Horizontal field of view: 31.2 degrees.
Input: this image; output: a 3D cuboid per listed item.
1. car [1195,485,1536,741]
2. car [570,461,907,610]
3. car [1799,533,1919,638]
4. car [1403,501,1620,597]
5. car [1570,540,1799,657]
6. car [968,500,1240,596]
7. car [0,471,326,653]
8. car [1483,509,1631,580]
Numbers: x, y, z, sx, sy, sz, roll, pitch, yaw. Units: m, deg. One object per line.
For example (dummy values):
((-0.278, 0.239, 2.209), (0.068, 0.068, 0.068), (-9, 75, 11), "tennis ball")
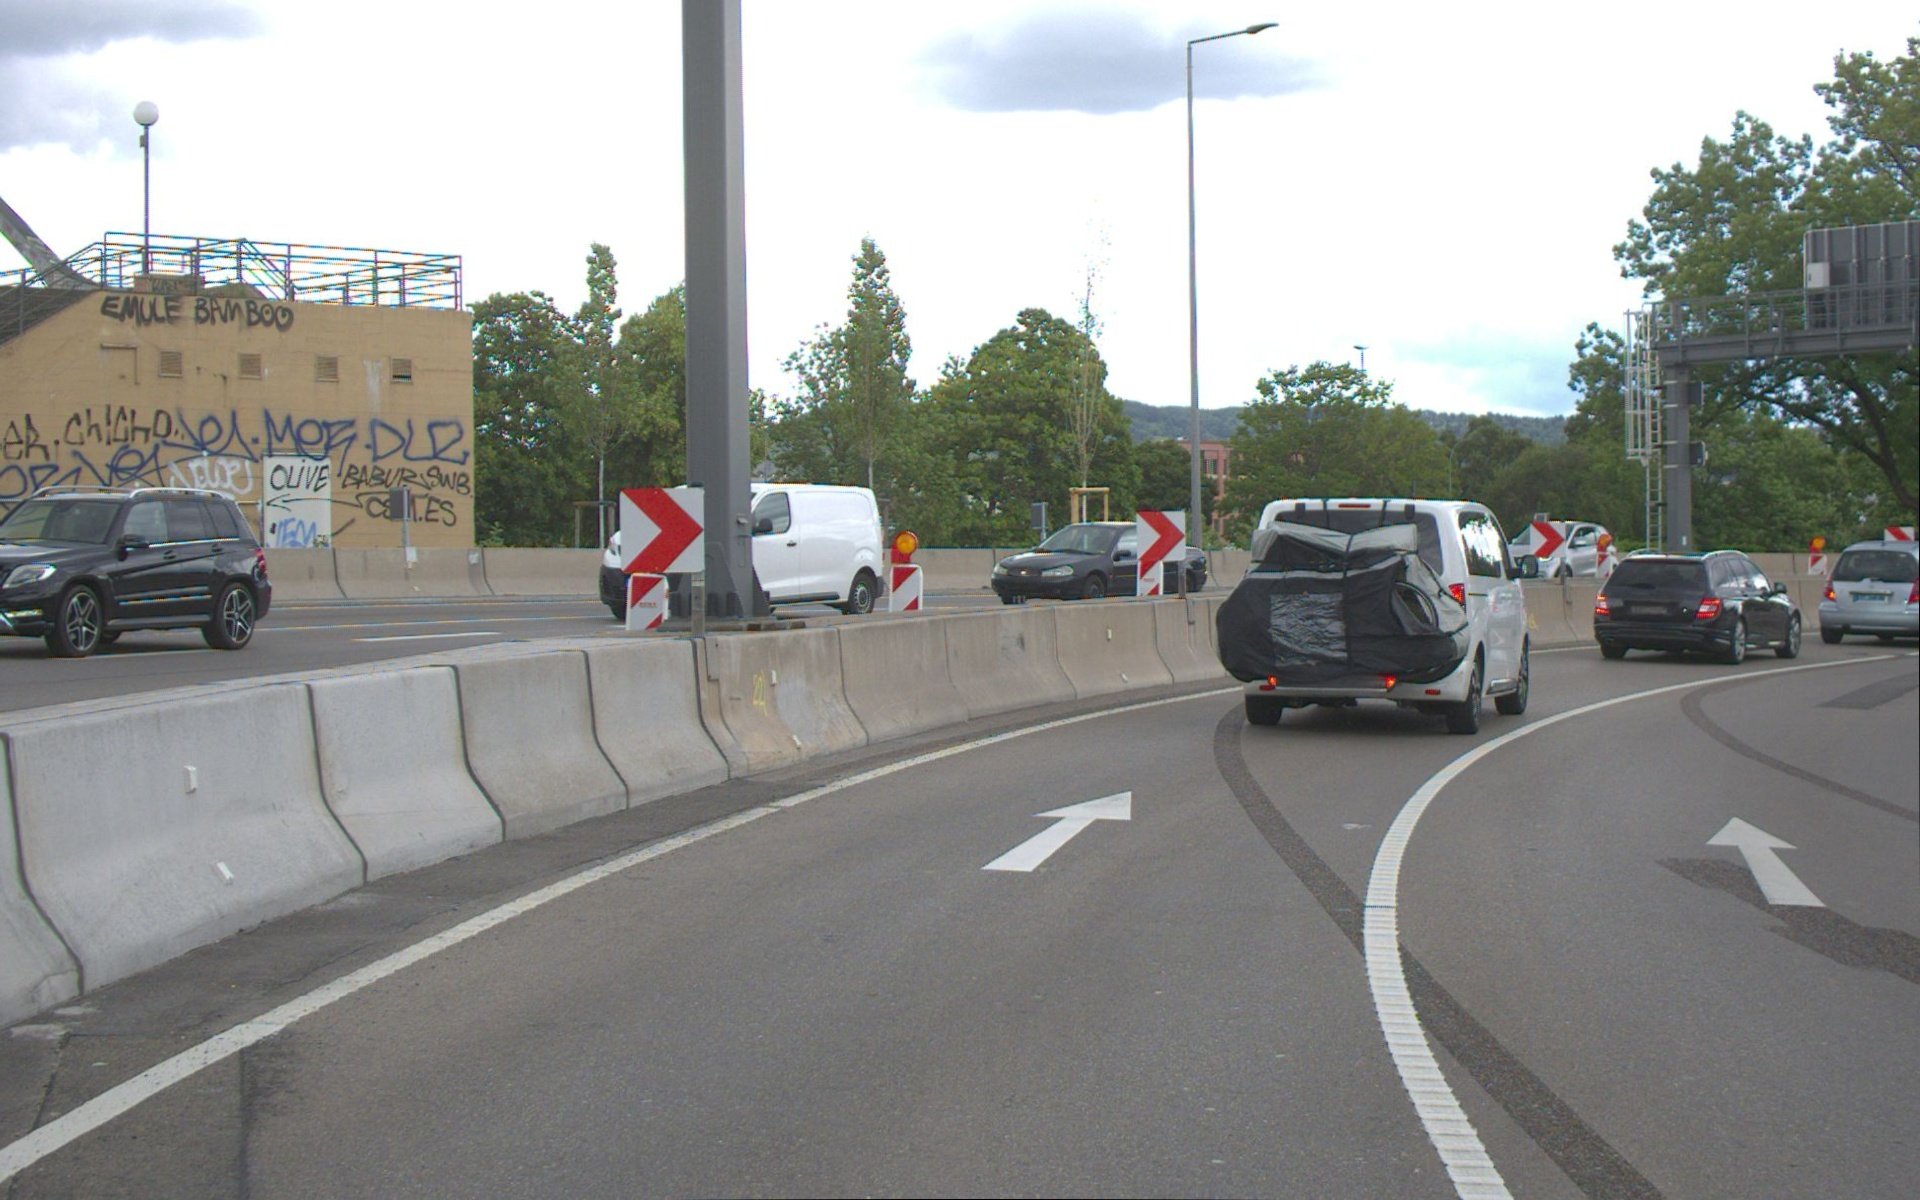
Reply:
((3.476, 0.040, 28.430), (1.994, 1.852, 5.637), (2, 1, 15), "car")
((-2.979, -0.886, 47.474), (2.241, 1.945, 5.096), (1, 1, 29), "car")
((14.330, -0.252, 52.010), (1.924, 1.483, 4.058), (1, 2, 33), "car")
((10.172, -0.939, 63.248), (1.998, 1.680, 4.249), (2, 1, 41), "car")
((9.373, -0.046, 44.281), (1.817, 1.429, 4.059), (0, 1, 28), "car")
((2.391, -0.850, 56.133), (1.998, 1.483, 4.577), (2, 1, 41), "car")
((-8.617, -0.416, 34.754), (1.996, 1.689, 4.922), (2, 1, 22), "car")
((12.765, -1.184, 73.432), (2.932, 1.470, 1.630), (0, 1, -42), "car")
